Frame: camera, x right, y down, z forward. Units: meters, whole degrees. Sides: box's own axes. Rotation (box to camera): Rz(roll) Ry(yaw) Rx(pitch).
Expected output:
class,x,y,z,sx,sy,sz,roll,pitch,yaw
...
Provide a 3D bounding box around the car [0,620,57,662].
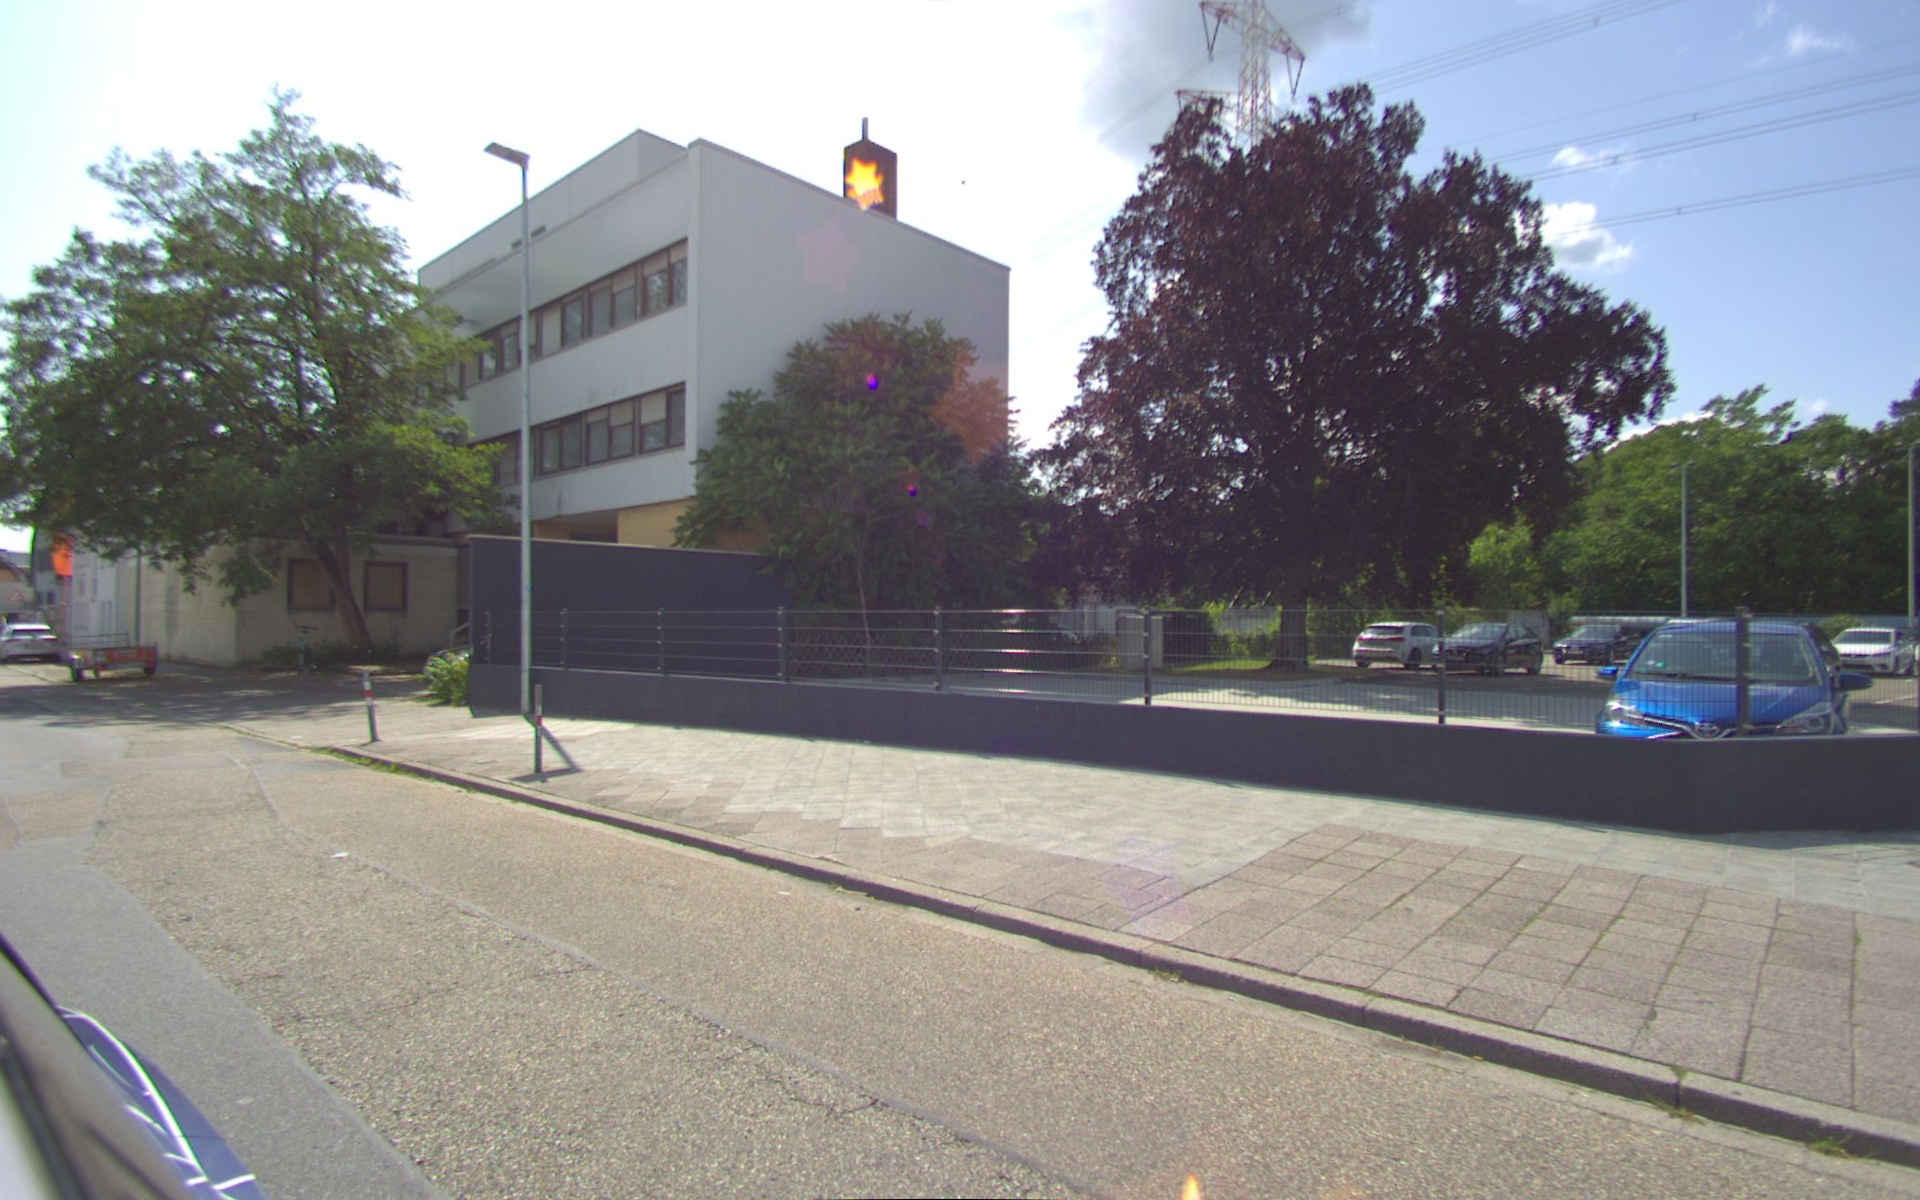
class,x,y,z,sx,sy,sz,roll,pitch,yaw
car,-35.658,1.508,38.358,4.512,1.466,1.655,-1,0,42

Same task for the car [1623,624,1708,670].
class,x,y,z,sx,sy,sz,roll,pitch,yaw
car,27.128,1.787,38.882,4.148,1.675,1.839,2,-2,-43

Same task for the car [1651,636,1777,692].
class,x,y,z,sx,sy,sz,roll,pitch,yaw
car,18.508,1.521,24.782,4.149,1.236,1.831,2,-2,-44

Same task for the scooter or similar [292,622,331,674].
class,x,y,z,sx,sy,sz,roll,pitch,yaw
scooter or similar,-16.873,1.220,26.311,1.360,1.288,0.477,-1,1,42

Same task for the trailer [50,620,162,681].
class,x,y,z,sx,sy,sz,roll,pitch,yaw
trailer,-23.583,1.335,27.898,4.334,1.450,1.748,-1,1,42

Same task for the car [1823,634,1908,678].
class,x,y,z,sx,sy,sz,roll,pitch,yaw
car,27.506,1.673,30.707,3.273,1.240,1.682,2,-2,-44

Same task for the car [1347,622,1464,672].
class,x,y,z,sx,sy,sz,roll,pitch,yaw
car,13.786,1.433,31.218,4.231,1.419,1.831,2,-2,-44

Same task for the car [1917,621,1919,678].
class,x,y,z,sx,sy,sz,roll,pitch,yaw
car,32.516,1.592,32.554,3.720,1.798,1.992,2,-2,-39

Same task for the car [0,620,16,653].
class,x,y,z,sx,sy,sz,roll,pitch,yaw
car,-45.214,1.677,46.918,4.221,1.466,1.656,-1,0,41

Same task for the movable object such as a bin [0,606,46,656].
class,x,y,z,sx,sy,sz,roll,pitch,yaw
movable object such as a bin,-40.216,1.278,42.831,5.135,1.933,1.597,-1,2,41

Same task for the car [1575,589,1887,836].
class,x,y,z,sx,sy,sz,roll,pitch,yaw
car,6.937,0.833,9.060,1.878,1.721,3.610,-1,-2,41

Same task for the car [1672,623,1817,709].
class,x,y,z,sx,sy,sz,roll,pitch,yaw
car,15.506,1.241,19.928,4.149,1.513,1.682,2,-2,-44

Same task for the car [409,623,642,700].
class,x,y,z,sx,sy,sz,roll,pitch,yaw
car,-8.671,1.171,20.408,1.795,1.372,3.947,0,-1,45

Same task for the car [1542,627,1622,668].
class,x,y,z,sx,sy,sz,roll,pitch,yaw
car,22.593,1.691,36.707,1.645,1.374,3.942,-1,-2,44

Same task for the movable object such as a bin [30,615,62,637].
class,x,y,z,sx,sy,sz,roll,pitch,yaw
movable object such as a bin,-58.648,1.675,64.916,1.149,1.438,1.303,-1,-2,36

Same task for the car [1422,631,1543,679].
class,x,y,z,sx,sy,sz,roll,pitch,yaw
car,14.876,1.523,28.725,4.149,1.236,1.831,2,-2,-44
